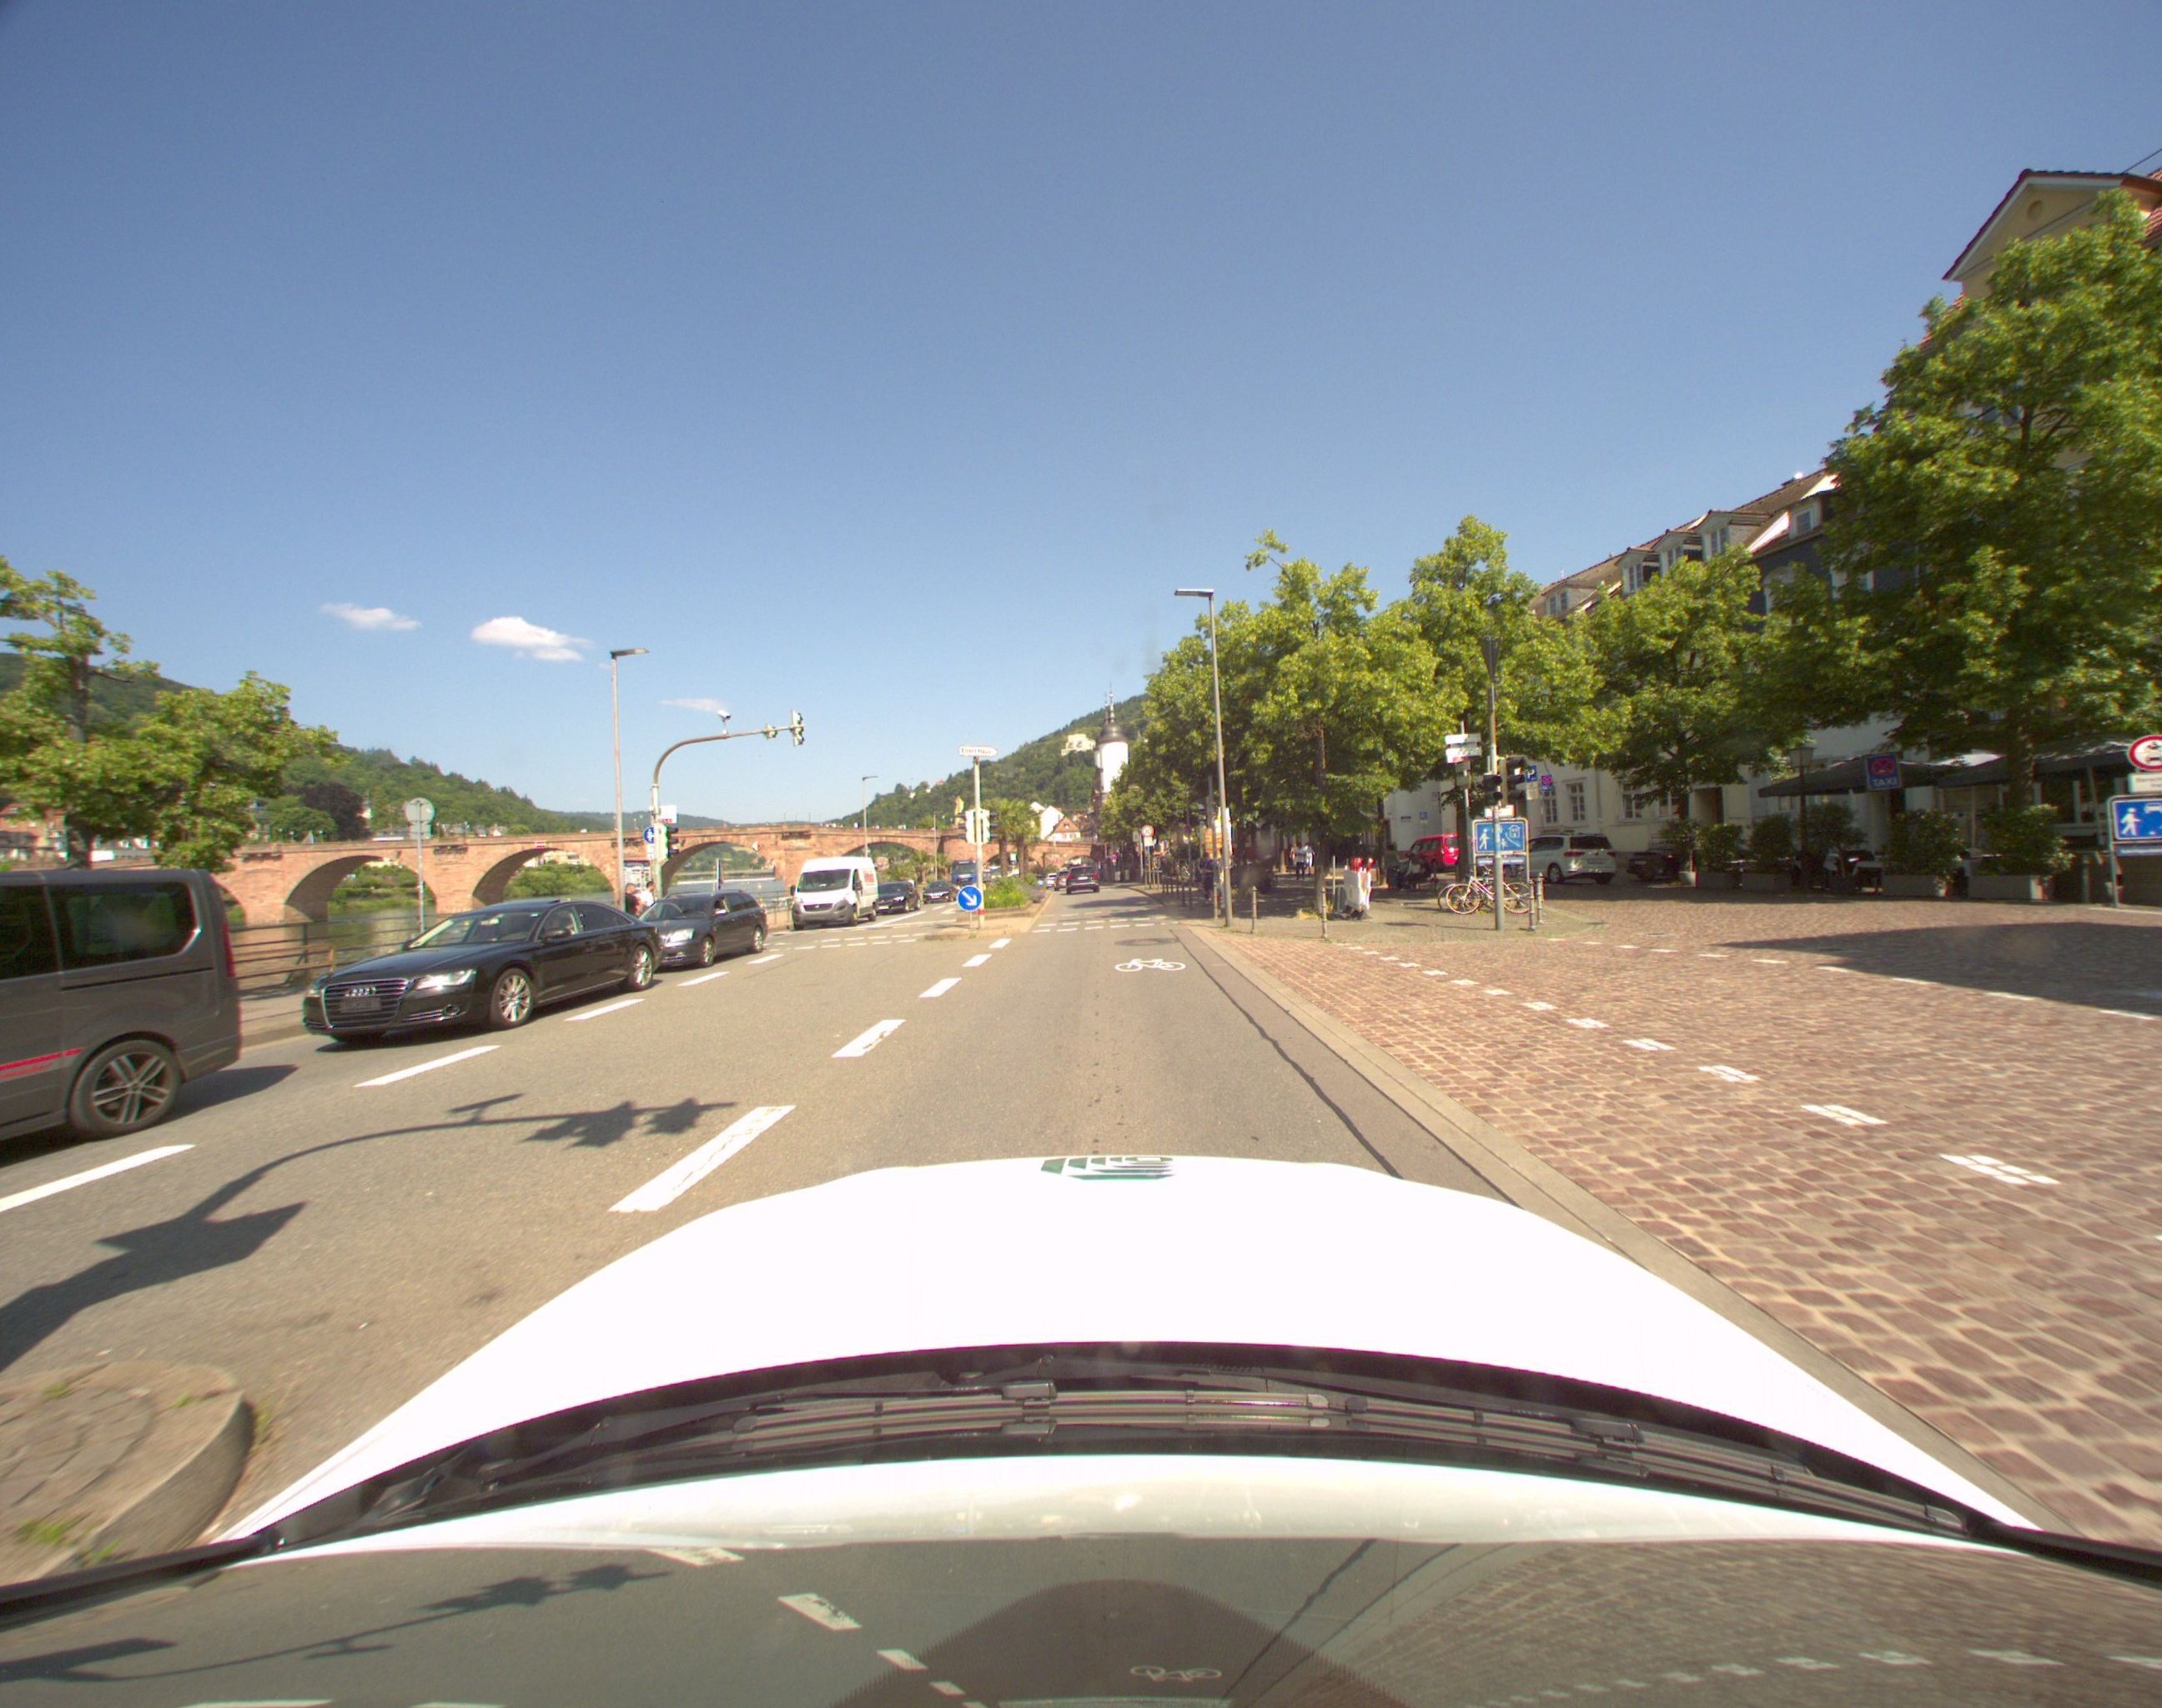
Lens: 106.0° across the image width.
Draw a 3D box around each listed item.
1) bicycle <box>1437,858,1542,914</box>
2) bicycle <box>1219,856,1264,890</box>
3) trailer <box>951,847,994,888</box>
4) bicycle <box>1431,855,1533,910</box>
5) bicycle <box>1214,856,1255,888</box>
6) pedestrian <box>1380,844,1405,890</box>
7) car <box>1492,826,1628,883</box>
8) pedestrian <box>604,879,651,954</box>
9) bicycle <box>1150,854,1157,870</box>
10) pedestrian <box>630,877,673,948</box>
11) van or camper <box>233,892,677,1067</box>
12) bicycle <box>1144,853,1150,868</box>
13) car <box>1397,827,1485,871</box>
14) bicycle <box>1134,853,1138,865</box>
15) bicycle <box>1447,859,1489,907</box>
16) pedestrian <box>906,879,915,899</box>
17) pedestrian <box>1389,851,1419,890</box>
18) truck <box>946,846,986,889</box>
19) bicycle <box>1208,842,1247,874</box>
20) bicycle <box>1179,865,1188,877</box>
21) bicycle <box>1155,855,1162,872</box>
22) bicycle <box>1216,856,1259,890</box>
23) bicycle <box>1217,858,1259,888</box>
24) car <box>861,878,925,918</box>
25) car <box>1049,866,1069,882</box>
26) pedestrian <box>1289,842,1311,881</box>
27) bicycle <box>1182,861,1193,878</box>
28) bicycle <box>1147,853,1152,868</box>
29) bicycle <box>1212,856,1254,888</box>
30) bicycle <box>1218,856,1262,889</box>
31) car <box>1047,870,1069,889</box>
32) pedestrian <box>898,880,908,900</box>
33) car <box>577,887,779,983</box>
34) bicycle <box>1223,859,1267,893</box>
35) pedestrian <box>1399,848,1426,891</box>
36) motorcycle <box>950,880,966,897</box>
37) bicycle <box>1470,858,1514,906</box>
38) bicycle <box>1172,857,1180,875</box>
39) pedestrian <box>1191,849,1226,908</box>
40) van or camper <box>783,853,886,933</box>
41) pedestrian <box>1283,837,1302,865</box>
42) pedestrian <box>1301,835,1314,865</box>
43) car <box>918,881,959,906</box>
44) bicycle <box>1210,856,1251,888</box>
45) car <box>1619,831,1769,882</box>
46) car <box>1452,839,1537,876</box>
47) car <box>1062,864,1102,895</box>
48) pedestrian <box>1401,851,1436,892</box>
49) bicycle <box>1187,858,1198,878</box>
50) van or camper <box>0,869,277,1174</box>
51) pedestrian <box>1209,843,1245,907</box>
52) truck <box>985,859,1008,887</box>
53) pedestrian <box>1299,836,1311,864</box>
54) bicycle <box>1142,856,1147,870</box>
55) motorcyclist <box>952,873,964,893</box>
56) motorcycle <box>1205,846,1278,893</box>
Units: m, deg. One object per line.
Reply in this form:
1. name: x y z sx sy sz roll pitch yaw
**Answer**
1. bicycle: 8.974 0.689 17.951 1.986 1.198 0.523 -1 0 10
2. bicycle: 5.818 0.668 29.500 1.482 1.120 0.377 -4 -1 -7
3. trailer: -9.856 1.184 74.713 2.650 3.403 8.823 -3 -1 -1
4. bicycle: 9.055 0.637 18.455 1.999 1.198 0.523 -1 0 10
5. bicycle: 5.915 0.698 31.393 1.482 1.120 0.250 -4 -1 -7
6. pedestrian: 10.371 0.428 27.106 0.459 1.517 0.688 -1 -1 -9
7. car: 15.931 0.015 27.413 1.764 1.728 4.565 -2 0 -2
8. pedestrian: -11.279 1.537 20.282 0.693 1.780 0.762 3 -1 -9
9. bicycle: 5.231 0.585 58.813 0.274 1.096 1.488 -7 -1 -1
10. pedestrian: -11.263 1.525 21.362 0.693 1.780 0.762 3 -1 -9
11. van or camper: -7.641 1.398 10.847 1.988 1.477 5.062 -4 -1 -1
12. bicycle: 5.120 0.509 63.144 0.249 1.096 1.488 -1 -1 -1
13. car: 17.542 -0.227 39.941 1.989 1.902 4.628 -3 0 -3
14. bicycle: 4.969 0.447 73.851 0.354 1.096 1.490 -1 -1 5
15. bicycle: 9.396 0.673 19.831 0.589 1.067 2.075 -4 -1 18
16. pedestrian: -15.483 3.179 73.922 0.761 1.780 0.694 -2 -1 -9
17. pedestrian: 10.898 0.563 27.483 0.625 1.281 0.752 -1 -1 -9
18. truck: -9.795 1.162 69.618 2.650 3.403 4.448 -3 -1 -1
19. bicycle: 7.310 0.219 40.737 1.826 1.483 0.285 -3 -1 -3
20. bicycle: 5.609 0.916 44.591 0.249 0.664 1.468 -3 -1 -2
21. bicycle: 5.250 0.635 55.243 0.344 1.096 1.488 -1 -1 -1
22. bicycle: 5.828 0.704 30.295 1.482 1.120 0.293 -4 -1 -7
23. bicycle: 5.943 0.731 30.882 1.482 1.032 0.293 -4 -1 -7
24. car: -8.674 1.993 37.898 1.814 1.455 4.925 -5 0 -1
25. car: -2.359 2.118 86.740 1.988 1.553 4.830 -3 0 -1
26. pedestrian: 9.714 0.331 36.171 0.705 1.653 0.706 -3 -1 -1
27. bicycle: 5.633 0.808 43.039 0.249 0.904 1.487 -3 -1 -2
28. bicycle: 5.155 0.504 61.217 0.249 1.096 1.488 -1 -1 -1
29. bicycle: 5.808 0.693 31.119 1.482 1.120 0.250 -4 -1 -7
30. bicycle: 5.854 0.673 29.999 1.482 1.120 0.293 -4 -1 -7
31. car: -2.171 2.446 78.127 1.988 1.553 4.830 -3 0 -1
32. pedestrian: -16.094 3.242 73.826 0.761 1.780 0.694 -2 -1 -9
33. car: -8.191 1.566 17.133 1.947 1.409 4.567 -5 0 -1
34. bicycle: 5.862 0.780 29.117 1.480 1.120 0.294 -4 -1 -3
35. pedestrian: 10.905 0.501 26.825 0.625 1.382 0.540 -1 -1 -9
36. motorcycle: -9.314 2.601 61.800 0.755 1.131 2.455 -3 -1 0
37. bicycle: 9.860 0.648 19.596 0.589 1.067 2.075 -4 -1 18
38. bicycle: 5.562 0.709 47.638 0.249 1.000 1.487 -1 -1 -2
39. pedestrian: 3.791 0.725 24.275 0.693 1.677 0.762 -4 0 -9
40. van or camper: -8.701 1.337 29.288 1.988 2.450 5.490 -4 -1 -1
41. pedestrian: 14.511 -0.195 55.889 0.965 1.915 0.747 -3 -1 -1
42. pedestrian: 15.598 -0.253 56.076 0.633 2.013 0.644 -3 0 -1
43. car: -9.245 2.546 53.089 1.947 1.413 4.215 -5 -2 -2
44. bicycle: 5.856 0.701 31.907 1.482 1.120 0.250 -4 -1 -7
45. car: 19.788 0.062 26.366 3.733 1.432 1.620 -3 1 -4
46. car: 17.698 0.170 35.043 1.671 1.432 3.467 -3 -1 -3
47. car: -0.010 1.374 45.835 1.923 1.553 4.825 -2 0 -4
48. pedestrian: 10.781 0.546 26.046 0.693 1.252 0.762 -3 0 -9
49. bicycle: 5.671 0.714 41.453 0.249 1.010 1.487 -3 -1 -2
50. van or camper: -7.681 1.095 4.202 1.989 1.873 5.173 -4 0 -3
51. pedestrian: 4.252 0.608 23.776 0.693 1.771 0.762 -4 0 -9
52. truck: -11.303 2.508 108.944 2.652 3.403 5.128 -3 -1 -3
53. pedestrian: 16.047 -0.291 58.428 0.584 2.013 0.596 -4 -1 -2
54. bicycle: 5.068 0.709 65.228 0.249 1.096 1.488 -1 -1 -1
55. motorcyclist: -9.323 2.183 61.774 0.734 1.470 1.011 -3 -1 -1
56. motorcycle: 5.454 0.534 27.765 2.269 1.465 0.769 -5 -2 40
